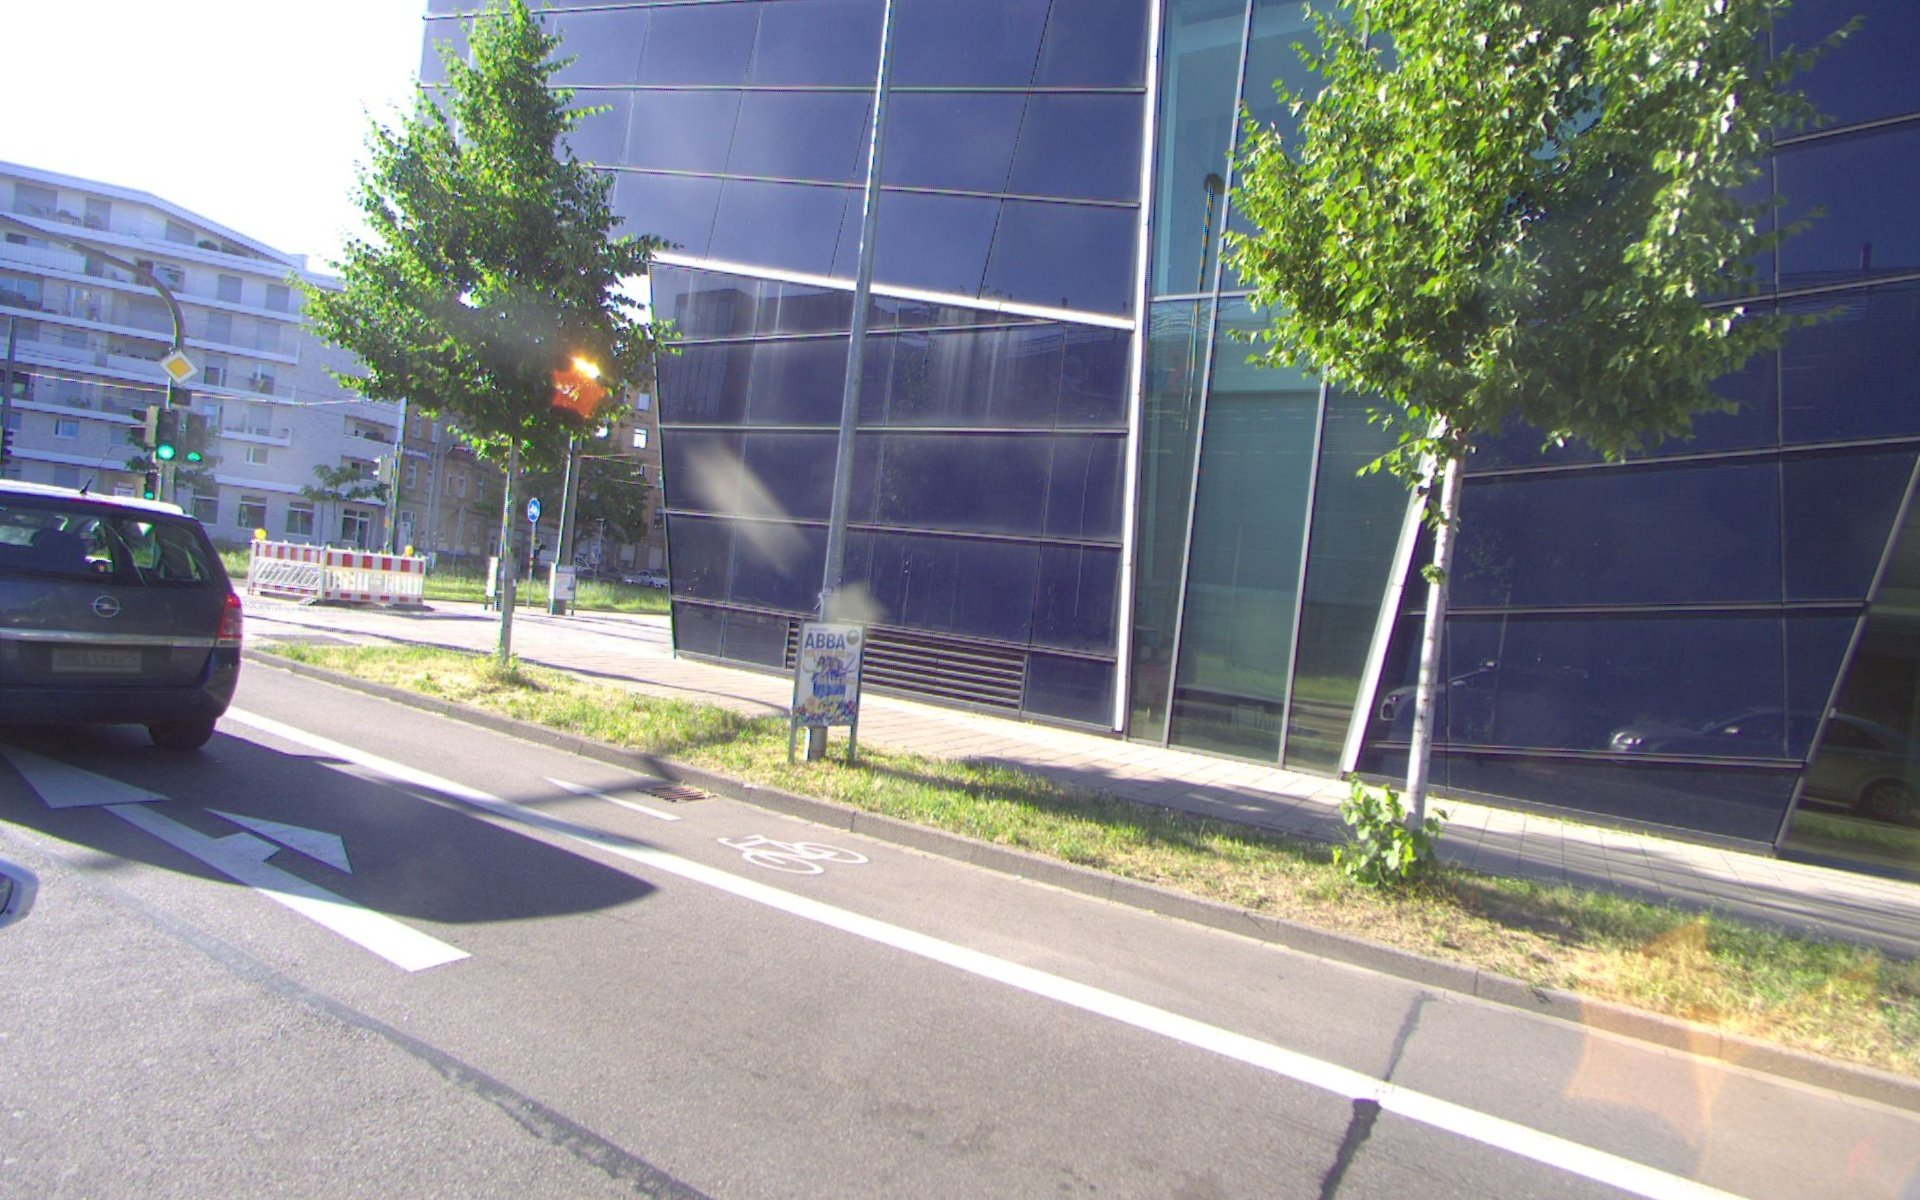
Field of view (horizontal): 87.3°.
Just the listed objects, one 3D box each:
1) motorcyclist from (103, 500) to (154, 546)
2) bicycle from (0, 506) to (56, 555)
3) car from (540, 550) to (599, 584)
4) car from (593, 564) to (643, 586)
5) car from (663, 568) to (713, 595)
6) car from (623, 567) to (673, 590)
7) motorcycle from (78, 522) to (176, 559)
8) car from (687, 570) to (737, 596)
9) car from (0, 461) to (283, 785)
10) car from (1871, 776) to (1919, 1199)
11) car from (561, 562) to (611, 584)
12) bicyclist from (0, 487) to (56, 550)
[{"bbox_3d":[-30.562,-2.831,36.969,1.150,1.500,0.927,6,0,23],"label":"motorcyclist"},{"bbox_3d":[-28.251,-2.110,30.108,2.042,1.278,0.768,6,0,17],"label":"bicycle"},{"bbox_3d":[-33.774,-2.828,87.103,4.541,2.339,1.990,7,0,-23],"label":"car"},{"bbox_3d":[-27.322,-1.973,80.391,3.944,1.371,1.990,5,0,41],"label":"car"},{"bbox_3d":[-22.492,-1.544,83.118,3.944,1.794,1.990,6,0,41],"label":"car"},{"bbox_3d":[-25.347,-1.779,81.735,3.944,1.505,1.990,5,0,41],"label":"car"},{"bbox_3d":[-30.610,-2.170,37.021,1.150,1.013,2.460,6,-1,23],"label":"motorcycle"},{"bbox_3d":[-21.030,-1.440,85.109,3.941,1.794,1.992,6,0,38],"label":"car"},{"bbox_3d":[-6.654,-0.012,6.782,4.190,1.715,1.749,6,-2,32],"label":"car"},{"bbox_3d":[3.787,1.187,0.551,4.552,1.499,1.747,6,0,32],"label":"car"},{"bbox_3d":[-29.392,-2.145,79.058,3.944,1.371,1.990,5,0,41],"label":"car"},{"bbox_3d":[-27.749,-2.419,29.964,0.913,1.728,0.768,6,1,17],"label":"bicyclist"}]
